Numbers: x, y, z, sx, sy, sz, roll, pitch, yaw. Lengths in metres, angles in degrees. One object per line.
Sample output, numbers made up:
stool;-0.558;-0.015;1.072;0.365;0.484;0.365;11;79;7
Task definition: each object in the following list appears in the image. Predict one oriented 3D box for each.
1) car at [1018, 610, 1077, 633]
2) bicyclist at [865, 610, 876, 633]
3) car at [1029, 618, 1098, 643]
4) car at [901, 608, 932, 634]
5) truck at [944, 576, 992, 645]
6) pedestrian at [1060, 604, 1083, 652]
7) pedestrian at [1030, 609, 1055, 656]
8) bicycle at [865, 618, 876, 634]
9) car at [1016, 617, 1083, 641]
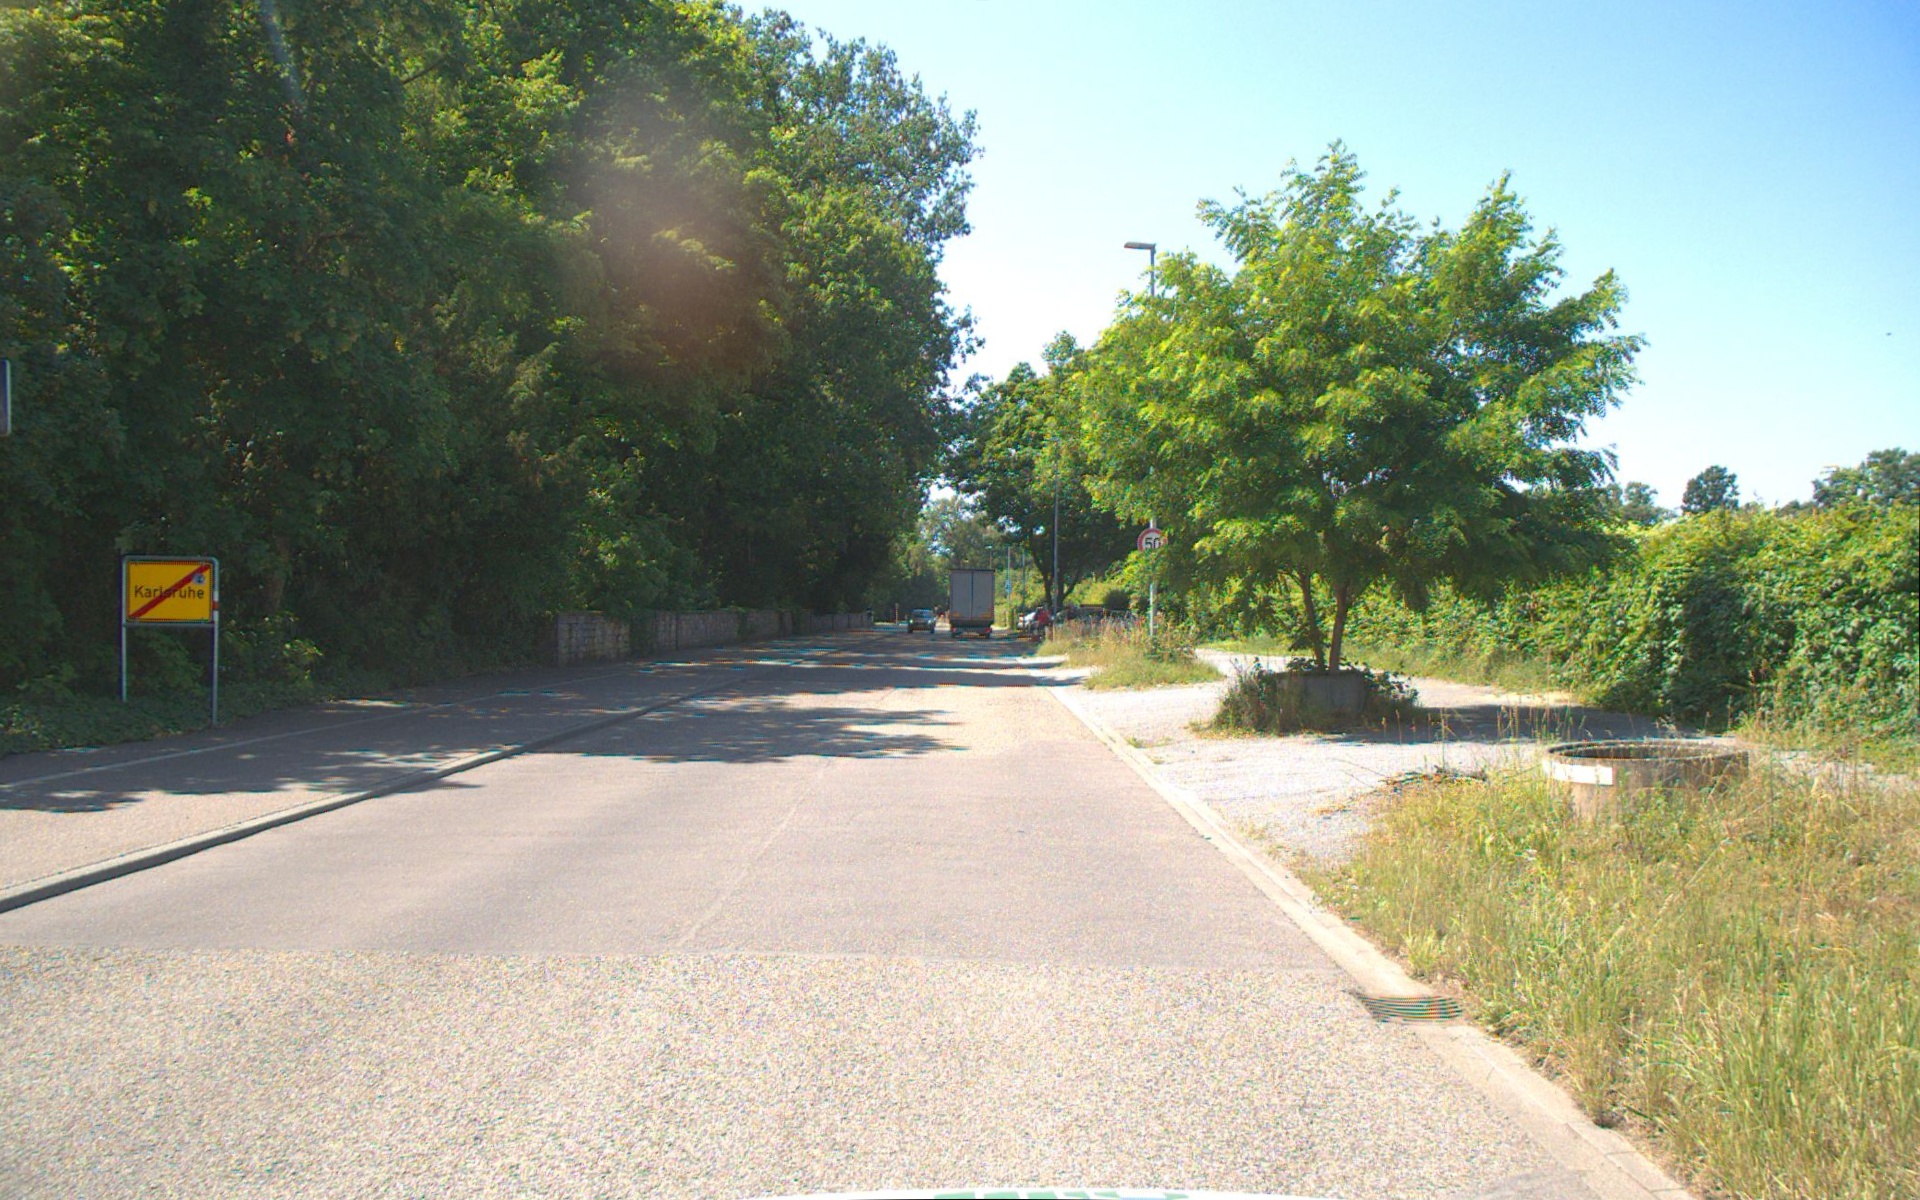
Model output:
car;6.226;1.512;117.793;4.109;1.470;1.739;-1;0;1
bicyclist;-6.991;1.680;129.174;0.815;1.746;0.957;-1;0;0
car;6.213;1.815;99.596;4.109;1.470;1.739;0;-1;1
car;-3.022;1.458;115.108;1.952;1.713;4.262;-1;0;0
truck;0.494;0.533;98.033;2.677;3.811;13.246;0;0;0
pedestrian;4.207;1.063;62.377;0.724;1.769;0.885;-1;0;-2
pedestrian;3.044;1.188;61.220;0.846;1.706;0.885;-1;0;-2
bicycle;-6.984;2.061;129.192;0.703;1.179;2.230;-1;0;1
car;5.623;1.797;103.948;4.109;1.470;1.739;0;-1;1
